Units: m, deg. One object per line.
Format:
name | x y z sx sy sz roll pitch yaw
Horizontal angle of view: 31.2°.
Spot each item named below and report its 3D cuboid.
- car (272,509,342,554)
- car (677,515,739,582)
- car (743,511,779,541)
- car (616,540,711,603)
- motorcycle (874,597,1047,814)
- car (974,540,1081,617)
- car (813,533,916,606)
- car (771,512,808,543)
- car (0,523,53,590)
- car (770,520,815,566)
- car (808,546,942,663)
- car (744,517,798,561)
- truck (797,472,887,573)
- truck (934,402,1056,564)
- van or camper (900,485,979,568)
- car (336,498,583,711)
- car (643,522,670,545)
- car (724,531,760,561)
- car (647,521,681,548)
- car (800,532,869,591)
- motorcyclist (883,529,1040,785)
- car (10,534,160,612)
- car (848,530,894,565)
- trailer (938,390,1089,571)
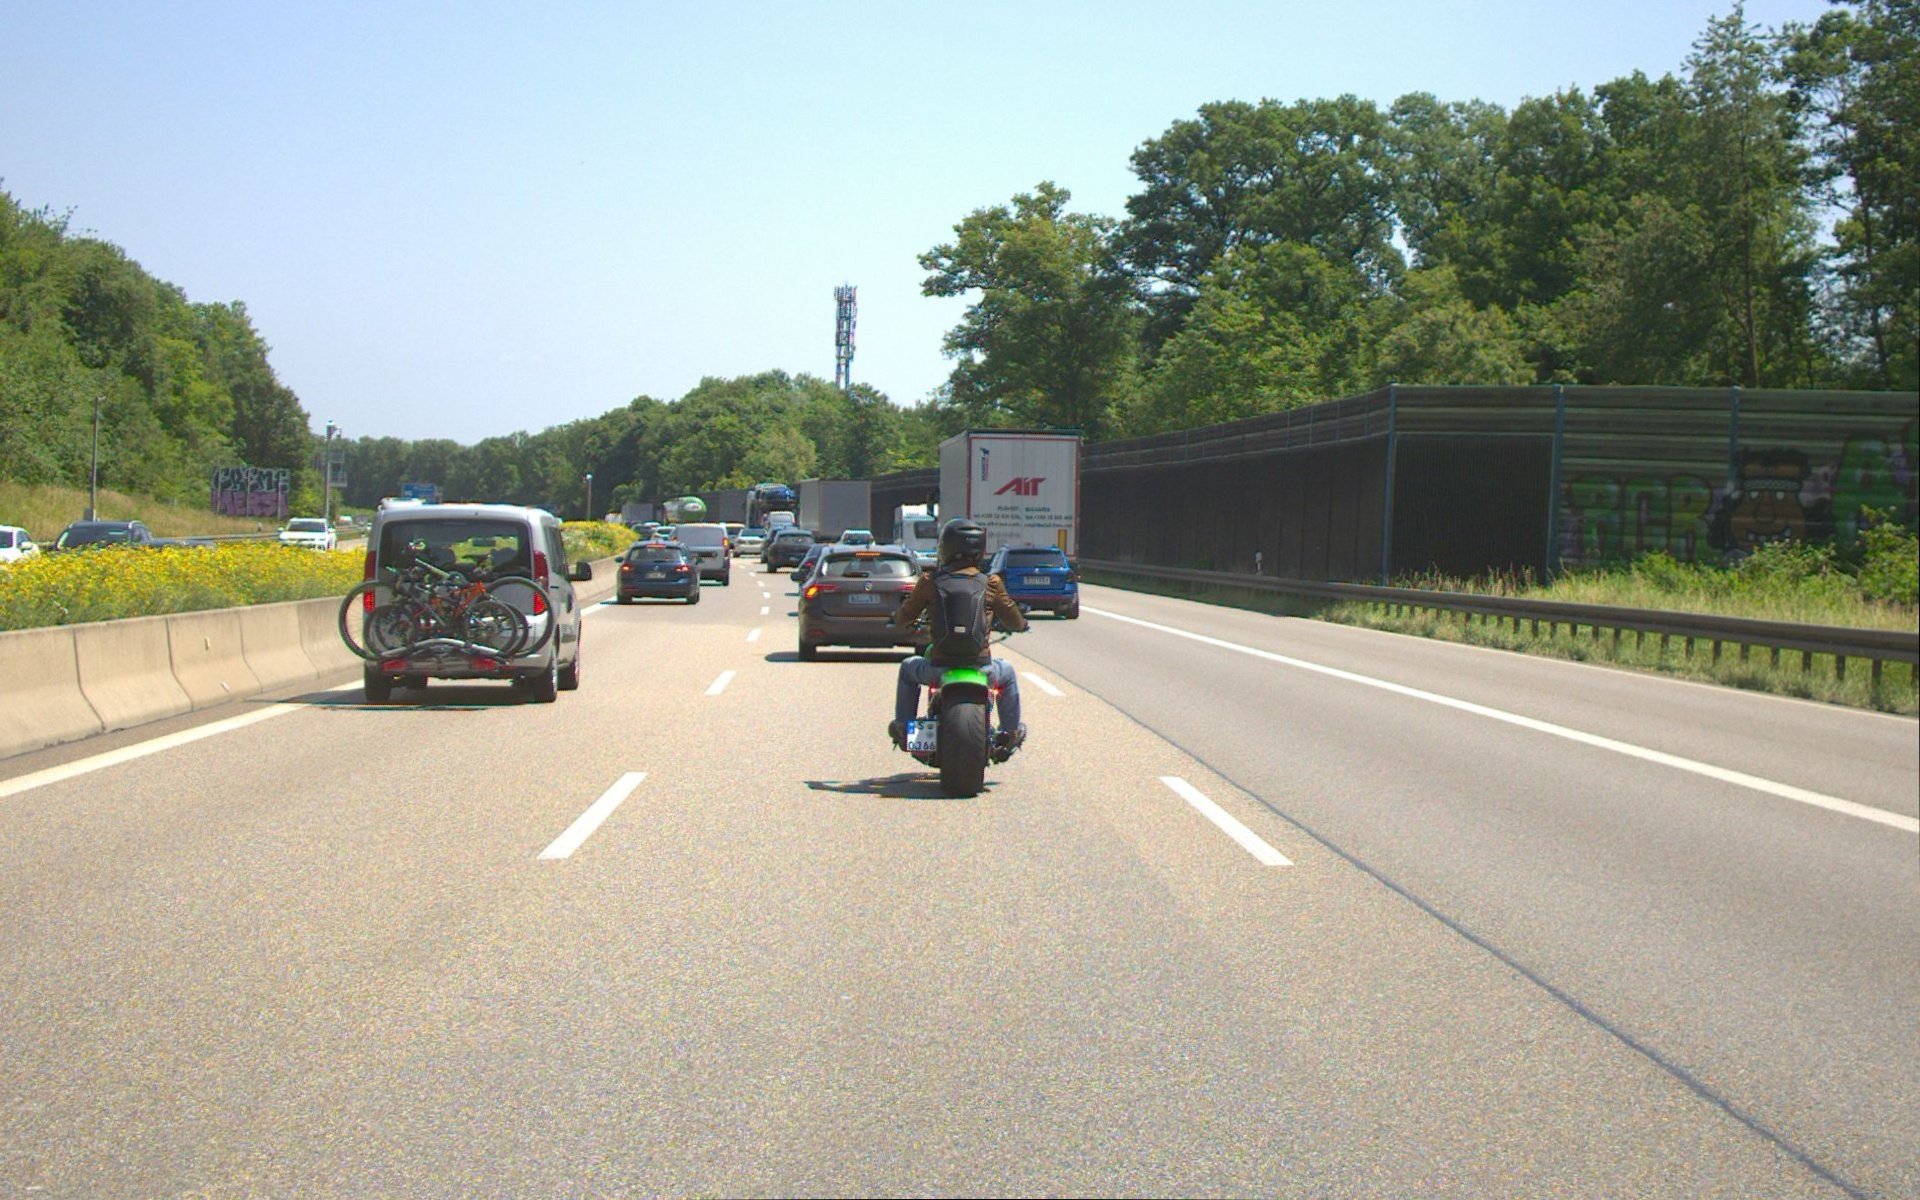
car | -24.294 -2.559 128.032 1.993 1.611 4.485 0 1 -3
car | -7.663 -1.556 104.801 1.791 2.007 3.642 0 0 -2
car | -12.800 -4.725 220.479 2.107 1.870 4.001 0 0 -6
car | -6.774 -0.648 78.768 1.993 1.382 4.000 0 0 -3
motorcycle | 0.025 0.601 20.929 0.964 1.144 2.812 1 1 1
car | 1.321 -0.439 68.850 1.650 1.477 4.482 0 0 -5
car | -1.964 -0.612 69.689 1.993 1.425 3.848 0 0 -3
car | -10.675 -4.512 215.030 2.107 1.870 4.001 0 0 -6
car | -21.303 -0.944 75.130 1.993 1.437 4.172 0 0 -2
car | -7.553 -2.560 154.818 1.911 2.007 3.691 0 0 -5
car | -1.146 0.042 44.779 1.662 1.448 3.869 0 0 -2
car | -7.113 -2.288 129.928 1.993 1.634 4.000 0 0 -3
truck | -6.031 -3.863 173.964 3.802 4.943 8.953 0 0 -7
truck | 0.871 -3.060 90.744 2.885 4.132 5.987 0 1 -2
van or camper | -0.732 -2.555 121.261 2.685 2.803 6.803 0 0 -1
car | -4.641 0.026 32.413 1.899 1.867 4.413 0 0 -3
car | -21.141 -4.628 239.404 1.832 1.491 3.744 0 0 -6
car | -11.066 -2.719 174.311 1.832 1.491 3.744 0 0 -4
car | -16.725 -3.701 194.440 1.832 1.491 3.744 0 0 -4
car | -3.324 -1.017 91.496 1.779 1.547 3.585 0 0 -1
motorcyclist | 0.027 0.321 20.781 0.899 1.470 1.872 0 0 1
car | -17.108 -0.530 67.412 1.993 1.481 4.000 0 0 -1
car | -4.195 -2.458 161.284 1.993 1.568 4.000 0 0 -3
trailer | 1.151 -2.857 83.916 2.885 4.024 13.797 0 1 -2
